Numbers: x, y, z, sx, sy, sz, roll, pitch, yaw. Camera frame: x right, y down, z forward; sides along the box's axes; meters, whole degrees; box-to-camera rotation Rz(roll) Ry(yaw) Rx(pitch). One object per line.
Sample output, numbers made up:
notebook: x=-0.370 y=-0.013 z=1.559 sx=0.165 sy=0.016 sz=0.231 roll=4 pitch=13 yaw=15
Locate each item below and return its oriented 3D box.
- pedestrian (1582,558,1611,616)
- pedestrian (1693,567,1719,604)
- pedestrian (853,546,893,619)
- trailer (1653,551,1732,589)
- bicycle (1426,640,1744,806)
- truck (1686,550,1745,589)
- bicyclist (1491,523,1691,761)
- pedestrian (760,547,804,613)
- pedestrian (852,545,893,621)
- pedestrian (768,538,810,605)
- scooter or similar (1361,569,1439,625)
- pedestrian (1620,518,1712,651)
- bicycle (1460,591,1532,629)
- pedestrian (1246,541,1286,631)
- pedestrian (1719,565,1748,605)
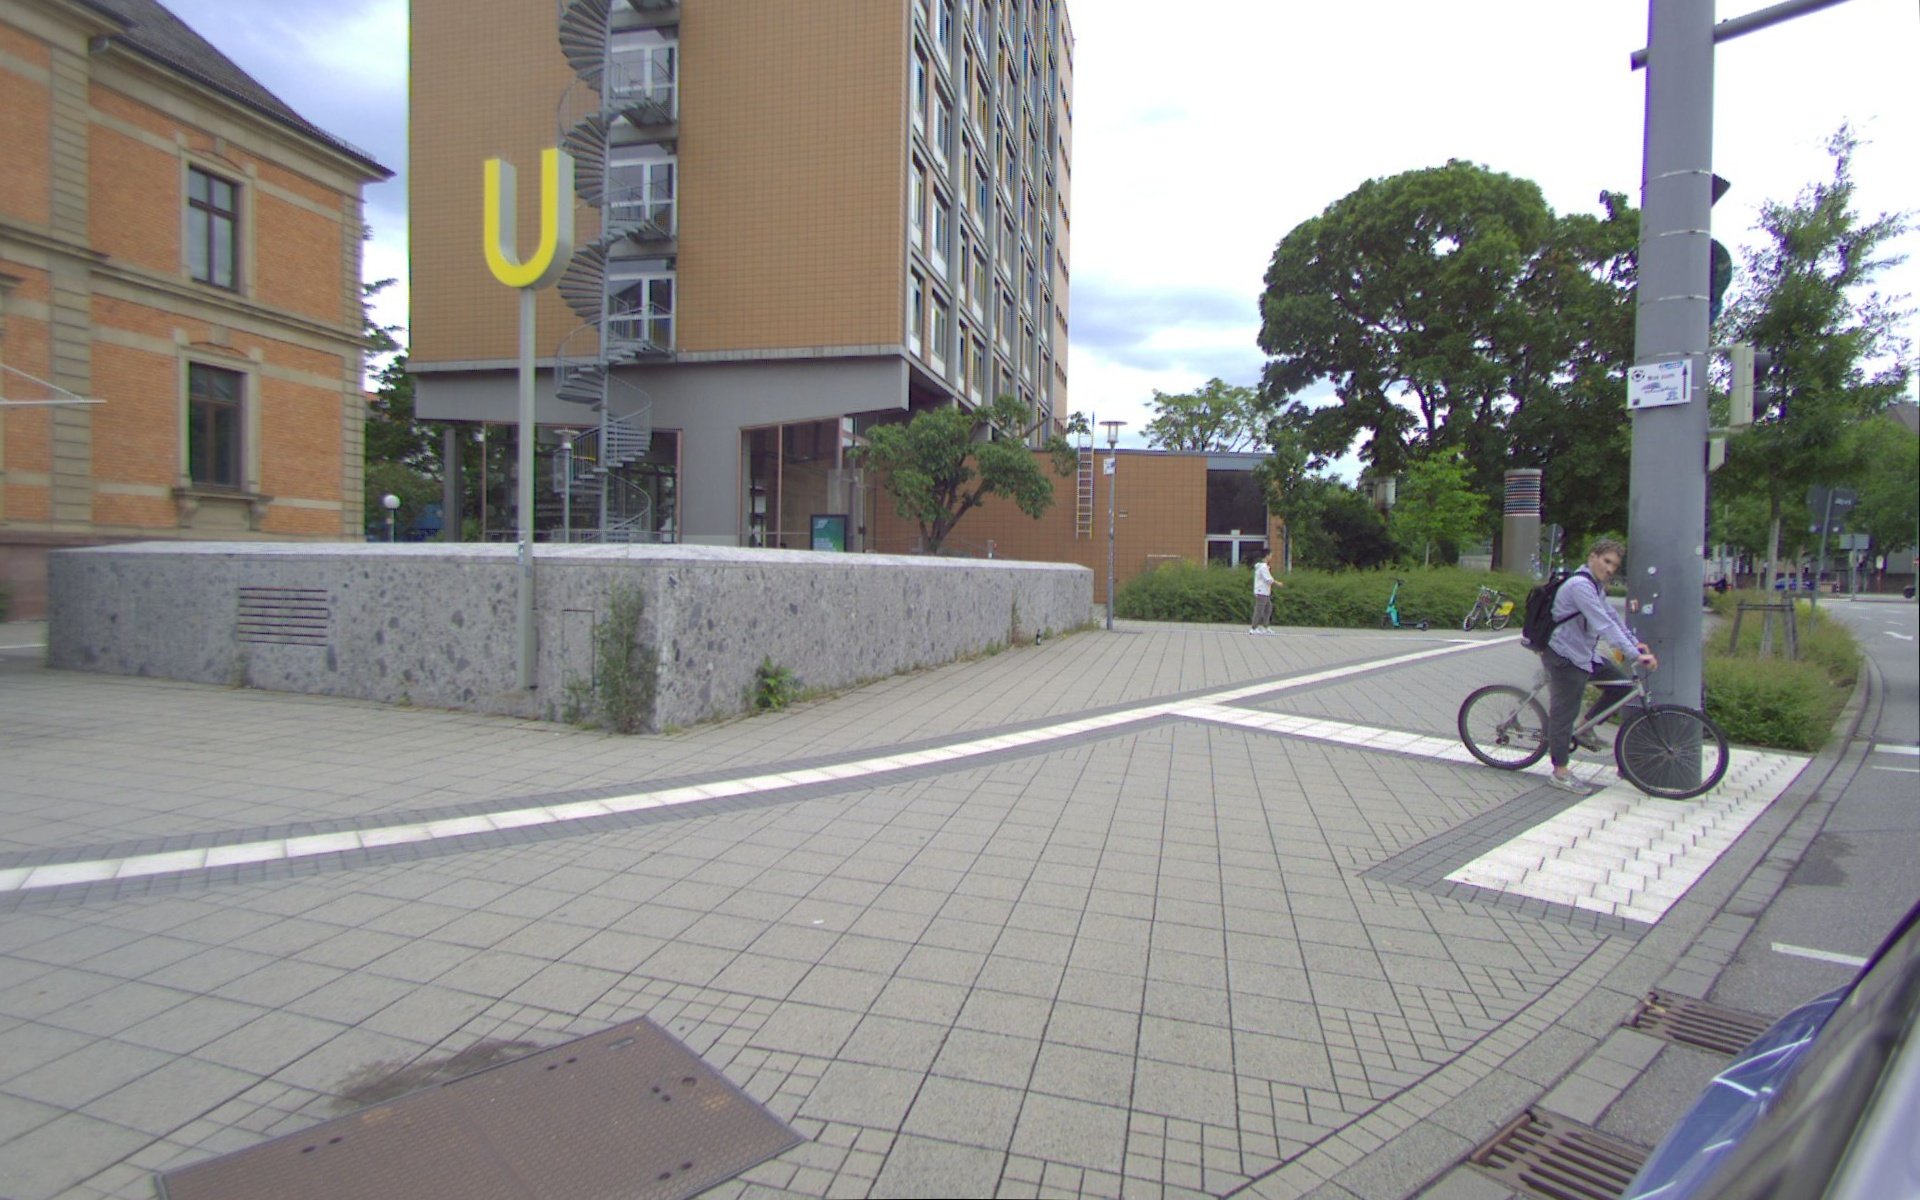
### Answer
pedestrian: x=20.740 y=-0.432 z=32.985 sx=0.628 sy=1.822 sz=0.589 roll=5 pitch=4 yaw=39
pedestrian: x=38.061 y=-0.767 z=51.620 sx=0.707 sy=1.822 sz=0.598 roll=3 pitch=3 yaw=-4
pedestrian: x=-2.119 y=-0.435 z=24.772 sx=0.858 sy=1.764 sz=0.723 roll=1 pitch=1 yaw=5
trailer: x=83.941 y=-3.396 z=116.347 sx=2.907 sy=4.064 sz=13.739 roll=0 pitch=1 yaw=17
bicycle: x=4.407 y=0.803 z=7.213 sx=1.818 sy=0.850 sz=0.757 roll=5 pitch=4 yaw=39
truck: x=82.125 y=-3.301 z=110.124 sx=2.874 sy=4.075 sz=7.124 roll=0 pitch=1 yaw=17
bicyclist: x=4.461 y=0.249 z=7.167 sx=1.096 sy=1.539 sz=0.749 roll=2 pitch=2 yaw=39
pedestrian: x=-4.575 y=-0.520 z=26.030 sx=0.863 sy=1.651 sz=0.720 roll=1 pitch=1 yaw=20
pedestrian: x=-2.060 y=-0.413 z=23.962 sx=0.858 sy=1.752 sz=0.723 roll=1 pitch=1 yaw=5
pedestrian: x=-4.565 y=-0.769 z=27.020 sx=0.863 sy=1.758 sz=0.720 roll=1 pitch=1 yaw=20
scooter or similar: x=10.489 y=-0.073 z=24.164 sx=1.580 sy=1.306 sz=0.692 roll=0 pitch=1 yaw=12
pedestrian: x=10.661 y=-0.237 z=15.310 sx=0.860 sy=1.952 sz=0.722 roll=1 pitch=1 yaw=10
bicycle: x=12.727 y=0.215 z=24.021 sx=2.033 sy=0.859 sz=0.558 roll=0 pitch=2 yaw=-32
pedestrian: x=6.394 y=-0.296 z=21.147 sx=0.696 sy=1.827 sz=0.832 roll=1 pitch=1 yaw=24
pedestrian: x=36.435 y=-0.702 z=47.669 sx=0.707 sy=1.822 sz=0.598 roll=3 pitch=3 yaw=-4
